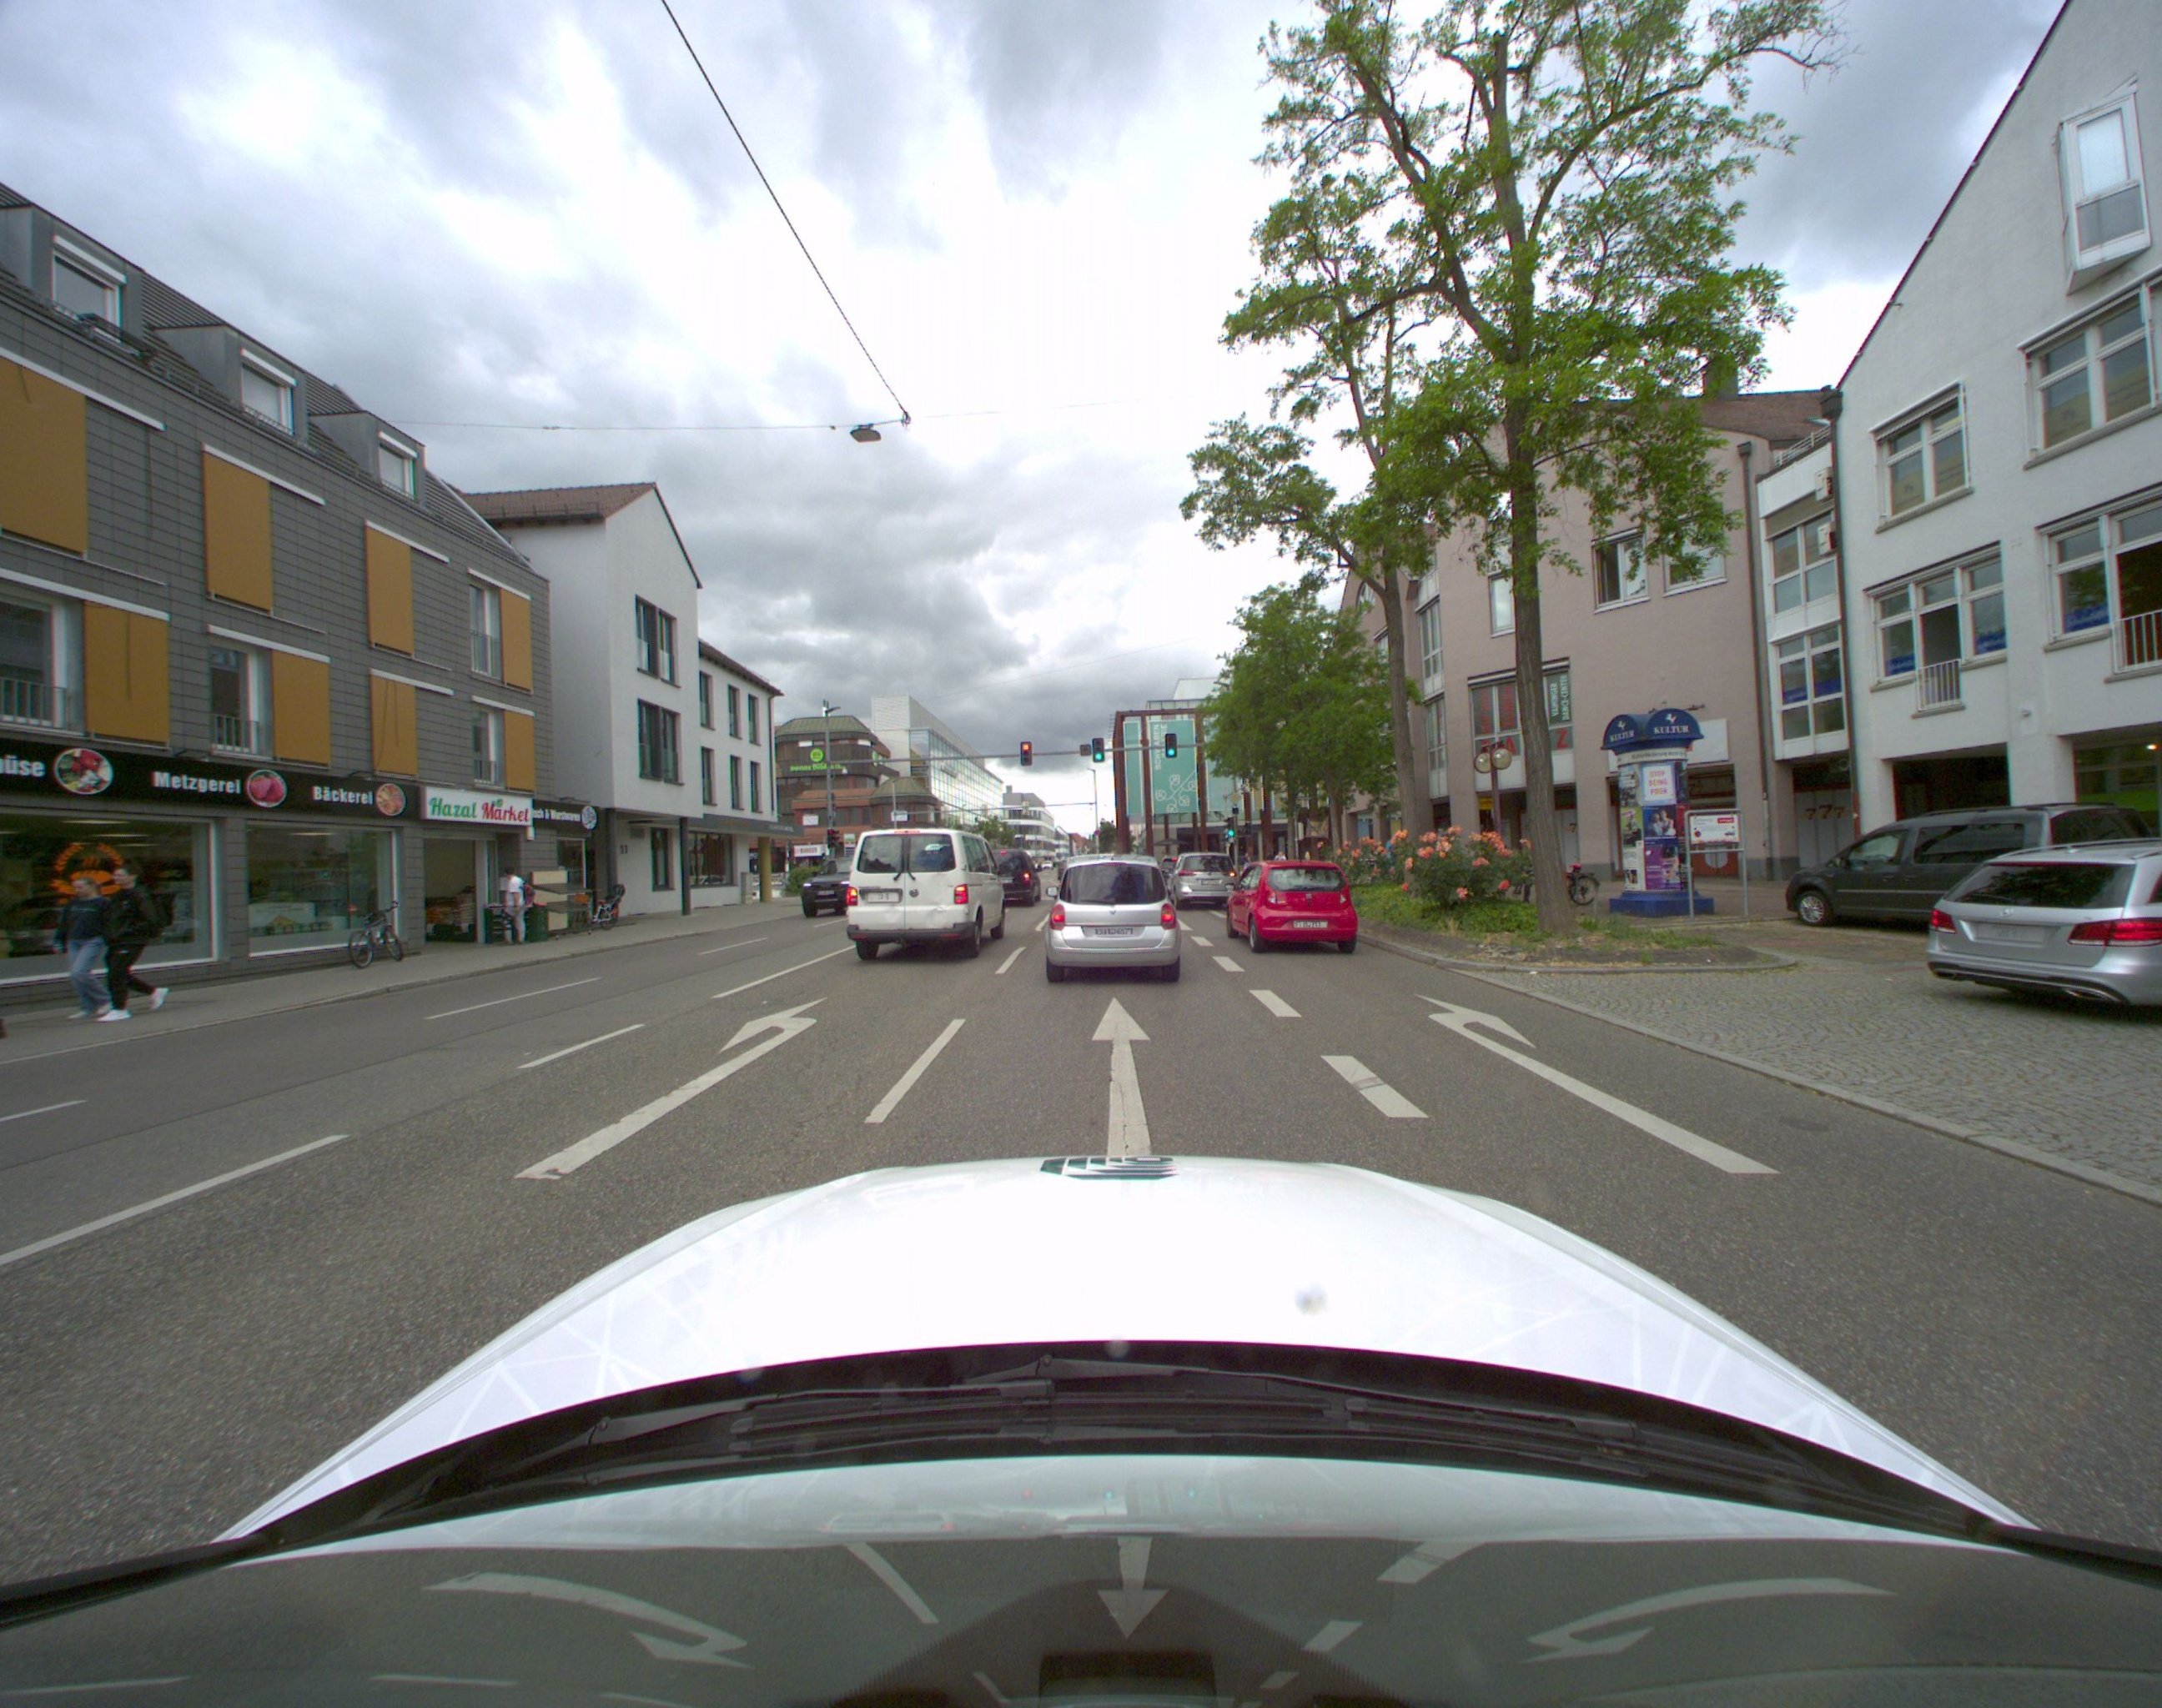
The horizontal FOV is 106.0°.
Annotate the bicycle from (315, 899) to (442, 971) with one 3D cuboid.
[{"bbox_3d":[-12.651,1.433,14.756,0.569,1.101,1.903,-2,0,2],"label":"bicycle"}]

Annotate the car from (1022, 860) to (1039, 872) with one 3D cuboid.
[{"bbox_3d":[-6.514,1.548,105.964,1.738,1.459,4.236,-3,0,1],"label":"car"}]

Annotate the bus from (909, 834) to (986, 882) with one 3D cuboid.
[{"bbox_3d":[-10.584,0.288,66.130,2.973,3.327,12.322,-5,0,5],"label":"bus"}]

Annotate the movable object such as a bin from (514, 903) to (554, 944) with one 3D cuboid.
[{"bbox_3d":[-12.657,1.597,18.846,0.549,0.899,0.507,-2,0,0],"label":"movable object such as a bin"}]

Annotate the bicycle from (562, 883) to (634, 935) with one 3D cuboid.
[{"bbox_3d":[-12.686,1.408,21.456,0.580,1.232,2.119,-2,0,0],"label":"bicycle"}]

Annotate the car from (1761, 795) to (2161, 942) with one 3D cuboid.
[{"bbox_3d":[13.179,0.194,12.549,1.729,1.804,4.259,-3,0,-1],"label":"car"}]

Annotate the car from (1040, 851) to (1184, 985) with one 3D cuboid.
[{"bbox_3d":[0.417,0.749,11.265,1.663,1.554,3.643,0,0,2],"label":"car"}]

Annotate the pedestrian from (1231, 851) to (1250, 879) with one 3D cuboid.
[{"bbox_3d":[9.837,0.671,50.179,0.876,1.681,1.120,-2,-1,-1],"label":"pedestrian"}]

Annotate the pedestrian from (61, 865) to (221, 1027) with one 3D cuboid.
[{"bbox_3d":[-11.458,1.076,9.969,0.704,1.839,1.029,-2,-1,3],"label":"pedestrian"}]

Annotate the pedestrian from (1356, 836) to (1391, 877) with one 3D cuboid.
[{"bbox_3d":[12.456,0.104,34.720,1.052,1.715,1.110,-2,-1,0],"label":"pedestrian"}]

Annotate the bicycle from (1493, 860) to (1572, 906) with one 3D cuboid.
[{"bbox_3d":[10.732,0.697,19.406,1.549,1.048,0.409,-3,-1,43],"label":"bicycle"}]

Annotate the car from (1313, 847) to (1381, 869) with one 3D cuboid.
[{"bbox_3d":[18.405,0.304,56.495,4.161,1.404,1.800,-1,0,-1],"label":"car"}]

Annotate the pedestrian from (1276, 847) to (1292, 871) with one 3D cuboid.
[{"bbox_3d":[13.911,0.332,55.767,0.819,1.595,1.039,-2,-1,0],"label":"pedestrian"}]

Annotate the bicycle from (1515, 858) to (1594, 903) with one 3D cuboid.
[{"bbox_3d":[11.387,0.646,19.613,1.549,1.048,0.409,-3,-1,43],"label":"bicycle"}]

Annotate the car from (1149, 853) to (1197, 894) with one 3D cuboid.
[{"bbox_3d":[3.992,0.813,35.969,1.733,1.701,4.382,0,0,2],"label":"car"}]

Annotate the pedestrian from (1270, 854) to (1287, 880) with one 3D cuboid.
[{"bbox_3d":[12.735,0.842,52.549,0.739,1.626,0.953,-3,0,-2],"label":"pedestrian"}]

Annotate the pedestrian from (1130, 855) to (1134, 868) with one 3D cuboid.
[{"bbox_3d":[6.298,0.939,100.635,0.425,1.549,0.481,-2,-1,0],"label":"pedestrian"}]

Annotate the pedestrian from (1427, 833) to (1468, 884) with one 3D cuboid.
[{"bbox_3d":[12.263,0.140,27.280,0.806,1.626,1.093,-3,0,-1],"label":"pedestrian"}]

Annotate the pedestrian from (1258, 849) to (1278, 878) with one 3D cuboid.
[{"bbox_3d":[11.598,0.586,50.579,0.876,1.767,1.120,-2,-1,-1],"label":"pedestrian"}]

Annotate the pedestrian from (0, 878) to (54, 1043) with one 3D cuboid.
[{"bbox_3d":[-11.632,1.121,8.456,0.800,1.698,0.870,-2,-1,3],"label":"pedestrian"}]

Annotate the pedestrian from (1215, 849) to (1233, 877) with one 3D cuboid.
[{"bbox_3d":[8.805,0.550,50.200,0.876,1.681,1.120,-2,-1,-1],"label":"pedestrian"}]

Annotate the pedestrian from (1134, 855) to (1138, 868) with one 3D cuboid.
[{"bbox_3d":[6.781,0.937,100.662,0.425,1.549,0.481,-2,-1,0],"label":"pedestrian"}]

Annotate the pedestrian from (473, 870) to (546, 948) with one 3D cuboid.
[{"bbox_3d":[-12.672,1.199,18.093,0.884,1.643,0.972,-2,-1,1],"label":"pedestrian"}]

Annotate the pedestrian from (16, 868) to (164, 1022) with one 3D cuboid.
[{"bbox_3d":[-12.205,1.081,10.059,0.704,1.782,0.870,-2,-1,3],"label":"pedestrian"}]

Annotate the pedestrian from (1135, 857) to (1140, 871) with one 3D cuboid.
[{"bbox_3d":[5.143,0.877,73.959,0.445,1.220,0.607,-2,-1,4],"label":"pedestrian"}]

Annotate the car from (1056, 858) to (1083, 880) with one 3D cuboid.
[{"bbox_3d":[-0.767,1.002,56.680,1.663,1.495,3.643,0,0,2],"label":"car"}]

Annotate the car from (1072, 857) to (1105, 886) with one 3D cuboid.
[{"bbox_3d":[0.448,0.904,43.341,1.663,1.495,3.643,0,0,2],"label":"car"}]

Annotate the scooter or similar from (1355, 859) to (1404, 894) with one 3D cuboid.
[{"bbox_3d":[9.936,0.747,27.167,0.471,1.087,1.878,-2,-1,-15],"label":"scooter or similar"}]

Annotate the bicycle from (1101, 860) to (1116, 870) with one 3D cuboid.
[{"bbox_3d":[2.951,1.227,87.635,1.553,0.992,0.753,-2,-1,4],"label":"bicycle"}]

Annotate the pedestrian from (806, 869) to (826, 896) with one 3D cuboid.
[{"bbox_3d":[-18.071,1.912,55.493,0.944,1.755,0.945,-2,-1,3],"label":"pedestrian"}]

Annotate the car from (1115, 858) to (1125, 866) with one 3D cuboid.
[{"bbox_3d":[7.707,1.636,160.304,1.870,1.564,4.002,0,0,2],"label":"car"}]

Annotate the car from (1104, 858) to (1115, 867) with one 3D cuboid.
[{"bbox_3d":[4.637,1.372,131.910,1.870,1.335,4.002,0,0,2],"label":"car"}]

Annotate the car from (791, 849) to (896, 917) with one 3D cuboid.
[{"bbox_3d":[-7.827,0.908,27.323,1.916,1.968,4.770,-4,0,1],"label":"car"}]

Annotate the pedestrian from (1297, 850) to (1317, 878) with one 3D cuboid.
[{"bbox_3d":[14.387,0.633,51.822,0.876,1.767,1.120,-2,-1,-1],"label":"pedestrian"}]

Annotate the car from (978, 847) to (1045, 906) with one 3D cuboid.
[{"bbox_3d":[-2.262,0.719,27.570,1.701,1.821,4.573,0,0,2],"label":"car"}]

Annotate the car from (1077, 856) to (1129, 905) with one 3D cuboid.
[{"bbox_3d":[0.760,0.849,27.879,1.663,1.554,3.643,0,0,2],"label":"car"}]

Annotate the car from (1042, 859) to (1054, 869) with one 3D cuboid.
[{"bbox_3d":[-5.588,1.663,137.679,1.654,1.465,4.002,-3,0,2],"label":"car"}]

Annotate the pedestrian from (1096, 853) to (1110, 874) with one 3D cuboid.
[{"bbox_3d":[1.794,0.800,66.072,0.861,1.646,0.685,-2,0,36],"label":"pedestrian"}]

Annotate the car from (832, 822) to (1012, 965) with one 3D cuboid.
[{"bbox_3d":[-2.462,0.568,14.000,1.986,2.014,4.842,-1,0,2],"label":"car"}]

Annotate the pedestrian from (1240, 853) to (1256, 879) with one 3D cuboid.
[{"bbox_3d":[11.004,0.794,53.658,0.739,1.626,0.953,-3,0,-2],"label":"pedestrian"}]

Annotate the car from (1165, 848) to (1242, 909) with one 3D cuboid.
[{"bbox_3d":[3.636,0.690,24.902,1.733,1.701,4.380,0,0,0],"label":"car"}]

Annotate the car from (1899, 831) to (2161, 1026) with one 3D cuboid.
[{"bbox_3d":[10.523,0.508,7.270,4.622,1.453,1.740,-3,0,1],"label":"car"}]

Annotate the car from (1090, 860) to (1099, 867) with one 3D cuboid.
[{"bbox_3d":[2.693,1.925,166.501,1.654,1.465,4.002,-3,0,2],"label":"car"}]

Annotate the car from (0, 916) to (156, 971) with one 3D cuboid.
[{"bbox_3d":[-28.778,2.514,22.934,1.387,1.180,3.358,-4,0,6],"label":"car"}]

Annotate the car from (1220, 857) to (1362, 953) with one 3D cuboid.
[{"bbox_3d":[3.494,0.787,14.164,1.620,1.448,3.643,0,0,2],"label":"car"}]
